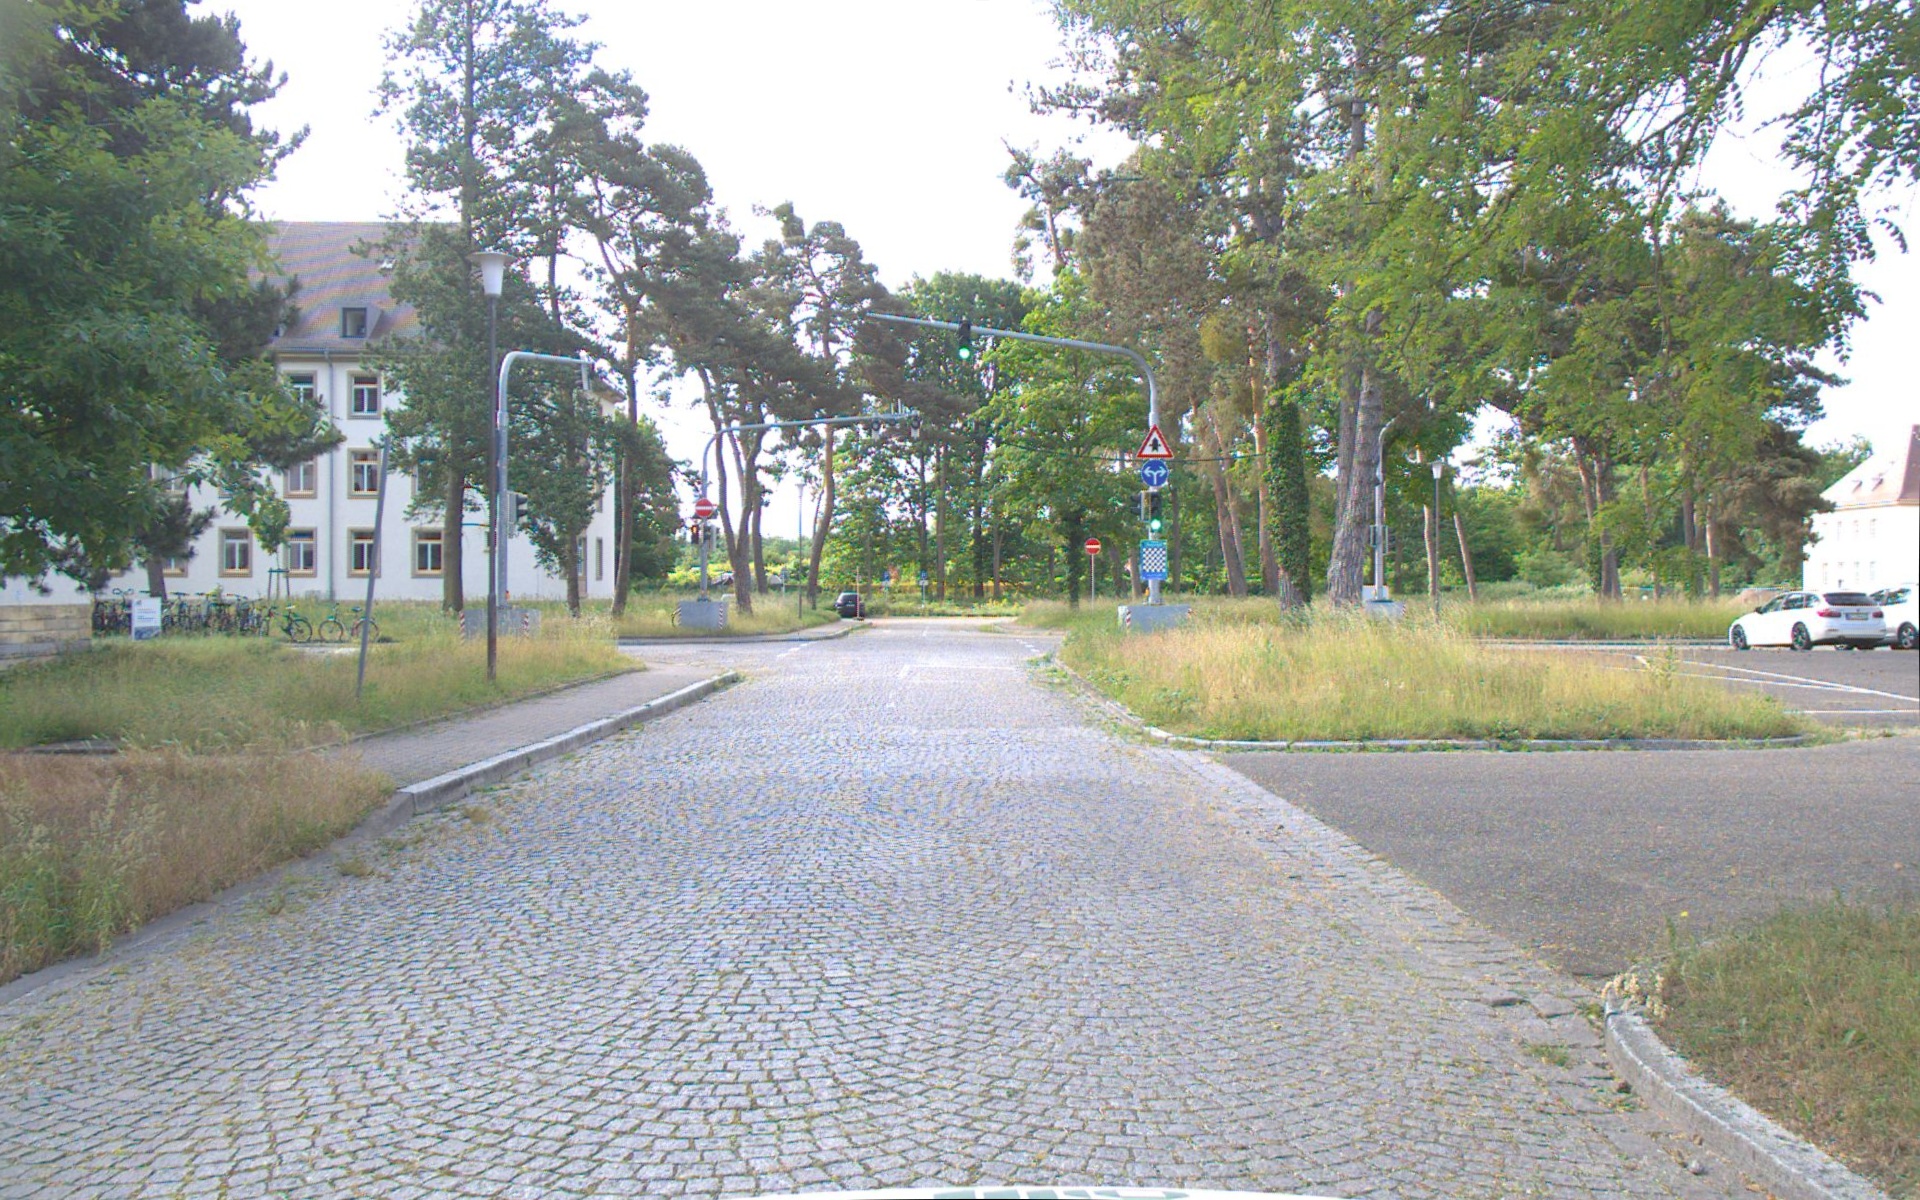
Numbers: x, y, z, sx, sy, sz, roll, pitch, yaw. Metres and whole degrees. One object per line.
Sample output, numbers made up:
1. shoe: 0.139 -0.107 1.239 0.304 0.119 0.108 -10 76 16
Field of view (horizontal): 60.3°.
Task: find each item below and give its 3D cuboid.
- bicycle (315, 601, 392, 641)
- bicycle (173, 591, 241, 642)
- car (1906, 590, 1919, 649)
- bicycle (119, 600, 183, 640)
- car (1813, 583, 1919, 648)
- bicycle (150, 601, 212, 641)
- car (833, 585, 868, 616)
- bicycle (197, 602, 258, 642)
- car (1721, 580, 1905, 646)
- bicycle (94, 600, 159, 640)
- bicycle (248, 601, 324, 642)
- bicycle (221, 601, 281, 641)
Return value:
1. bicycle: -16.848 0.587 45.966 1.818 1.095 0.831 0 0 1
2. bicycle: -21.539 0.452 47.373 0.721 1.410 2.711 0 0 0
3. car: 25.798 0.469 40.971 1.954 1.507 4.421 0 -1 -4
4. bicycle: -22.953 0.561 46.965 0.721 1.095 2.273 0 0 0
5. car: 23.187 0.405 40.633 1.954 1.507 4.421 0 -1 -4
6. bicycle: -22.327 0.586 47.469 0.721 1.095 2.273 0 0 0
7. car: -6.800 0.002 103.471 2.014 1.878 3.999 0 0 -2
8. bicycle: -20.804 0.604 47.030 0.721 1.095 2.273 0 0 0
9. car: 20.723 0.345 40.411 1.954 1.507 4.421 0 -1 -4
10. bicycle: -23.673 0.558 47.024 0.721 1.095 2.273 0 0 0
11. bicycle: -18.699 0.592 45.895 1.818 1.095 0.738 0 0 1
12. bicycle: -20.176 0.597 47.121 0.721 1.095 2.273 0 0 0
